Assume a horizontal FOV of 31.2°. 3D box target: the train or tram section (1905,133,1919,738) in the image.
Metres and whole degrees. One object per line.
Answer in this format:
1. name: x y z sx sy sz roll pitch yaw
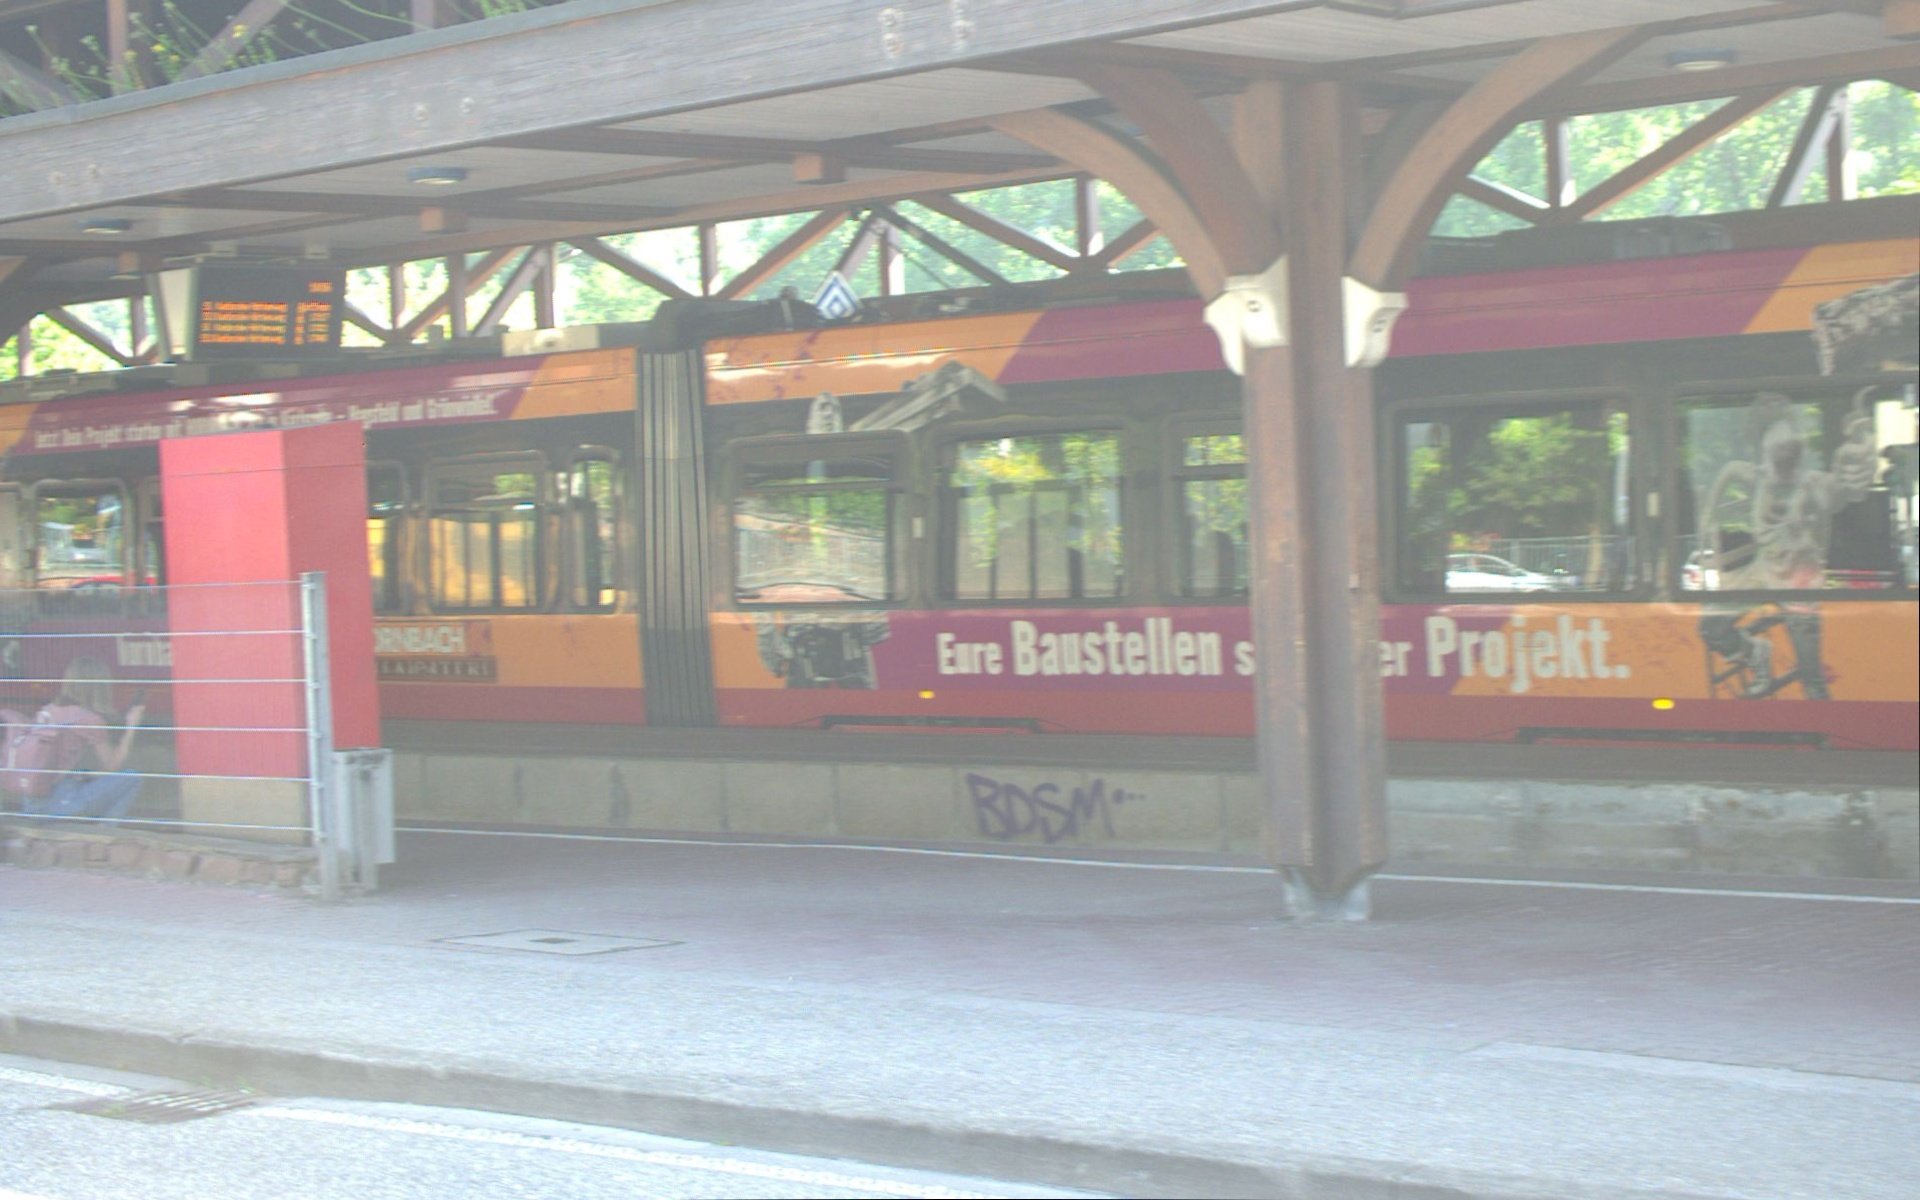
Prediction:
1. train or tram section: 11.619 -0.913 15.513 14.341 3.353 2.858 0 0 41

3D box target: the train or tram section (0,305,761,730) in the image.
1. train or tram section: -7.059 -0.701 32.202 12.039 3.353 2.758 1 0 43

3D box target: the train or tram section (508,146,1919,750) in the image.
1. train or tram section: 1.816 -0.804 24.148 12.038 3.353 2.788 0 -1 42

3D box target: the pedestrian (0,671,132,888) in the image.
1. pedestrian: -4.222 0.820 15.914 0.406 0.962 0.617 2 0 39
